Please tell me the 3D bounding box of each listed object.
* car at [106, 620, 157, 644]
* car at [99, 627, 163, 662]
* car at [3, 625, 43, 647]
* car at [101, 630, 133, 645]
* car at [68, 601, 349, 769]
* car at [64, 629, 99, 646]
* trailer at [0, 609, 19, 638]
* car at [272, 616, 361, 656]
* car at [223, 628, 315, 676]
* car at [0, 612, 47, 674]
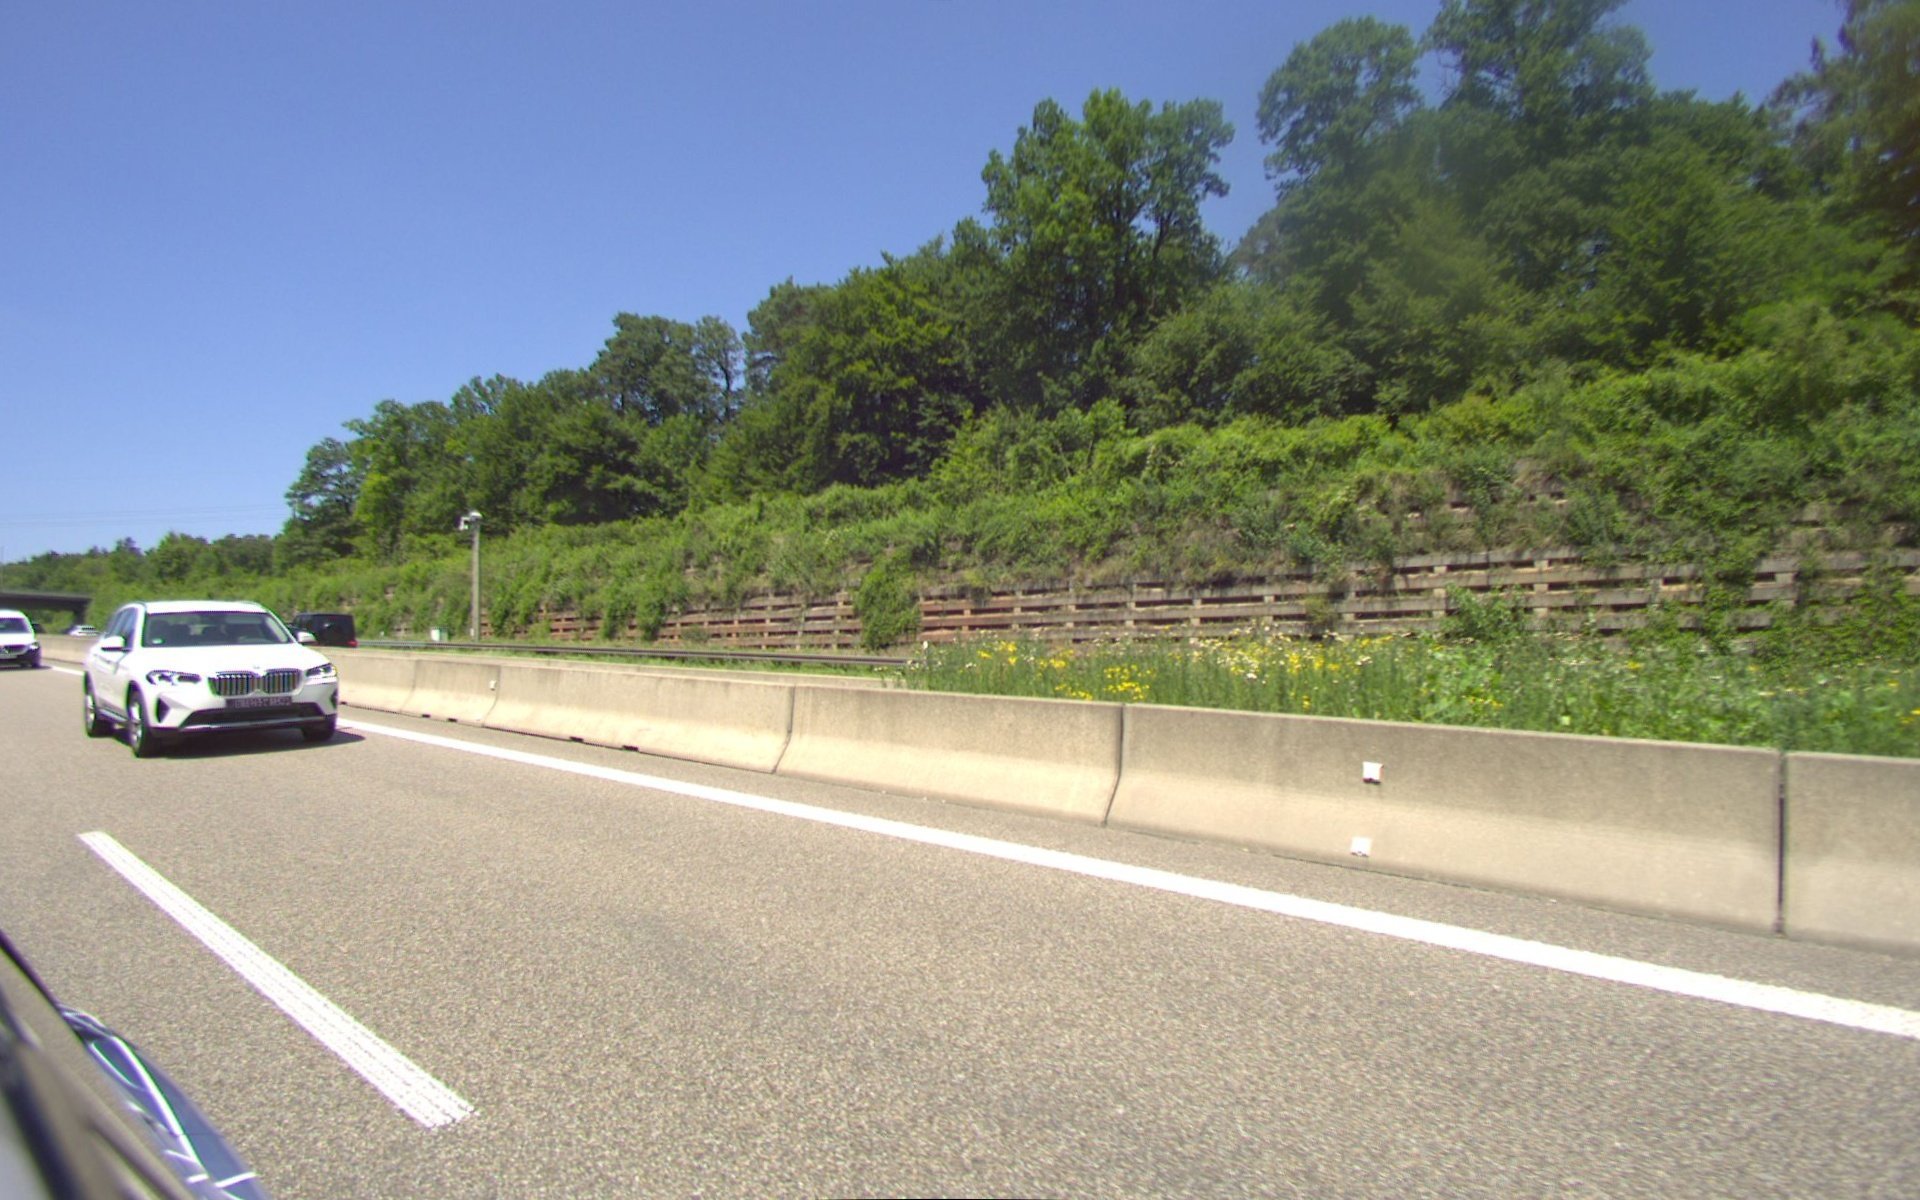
[{"bbox_3d":[-58.637,2.255,71.597,5.646,1.650,1.863,-2,-3,41],"label":"car"},{"bbox_3d":[-40.901,2.180,49.896,4.056,1.617,1.728,-2,-3,41],"label":"car"},{"bbox_3d":[-72.268,2.791,78.039,4.301,1.650,1.735,-2,-3,41],"label":"car"},{"bbox_3d":[-90.513,4.037,108.628,4.462,1.617,1.919,-2,-3,41],"label":"car"},{"bbox_3d":[-9.157,0.885,12.189,4.366,1.656,1.826,-2,-1,41],"label":"car"},{"bbox_3d":[-87.065,3.735,100.231,4.857,1.617,1.919,-2,-3,41],"label":"car"},{"bbox_3d":[-143.644,3.499,151.249,14.177,4.217,2.904,-1,0,41],"label":"trailer"},{"bbox_3d":[-27.531,1.528,43.236,4.654,1.617,1.919,-2,-3,41],"label":"car"},{"bbox_3d":[-24.785,1.820,36.259,4.079,1.617,1.743,-2,-3,41],"label":"car"},{"bbox_3d":[-29.538,1.293,30.938,4.501,1.788,1.972,-1,0,43],"label":"car"}]
